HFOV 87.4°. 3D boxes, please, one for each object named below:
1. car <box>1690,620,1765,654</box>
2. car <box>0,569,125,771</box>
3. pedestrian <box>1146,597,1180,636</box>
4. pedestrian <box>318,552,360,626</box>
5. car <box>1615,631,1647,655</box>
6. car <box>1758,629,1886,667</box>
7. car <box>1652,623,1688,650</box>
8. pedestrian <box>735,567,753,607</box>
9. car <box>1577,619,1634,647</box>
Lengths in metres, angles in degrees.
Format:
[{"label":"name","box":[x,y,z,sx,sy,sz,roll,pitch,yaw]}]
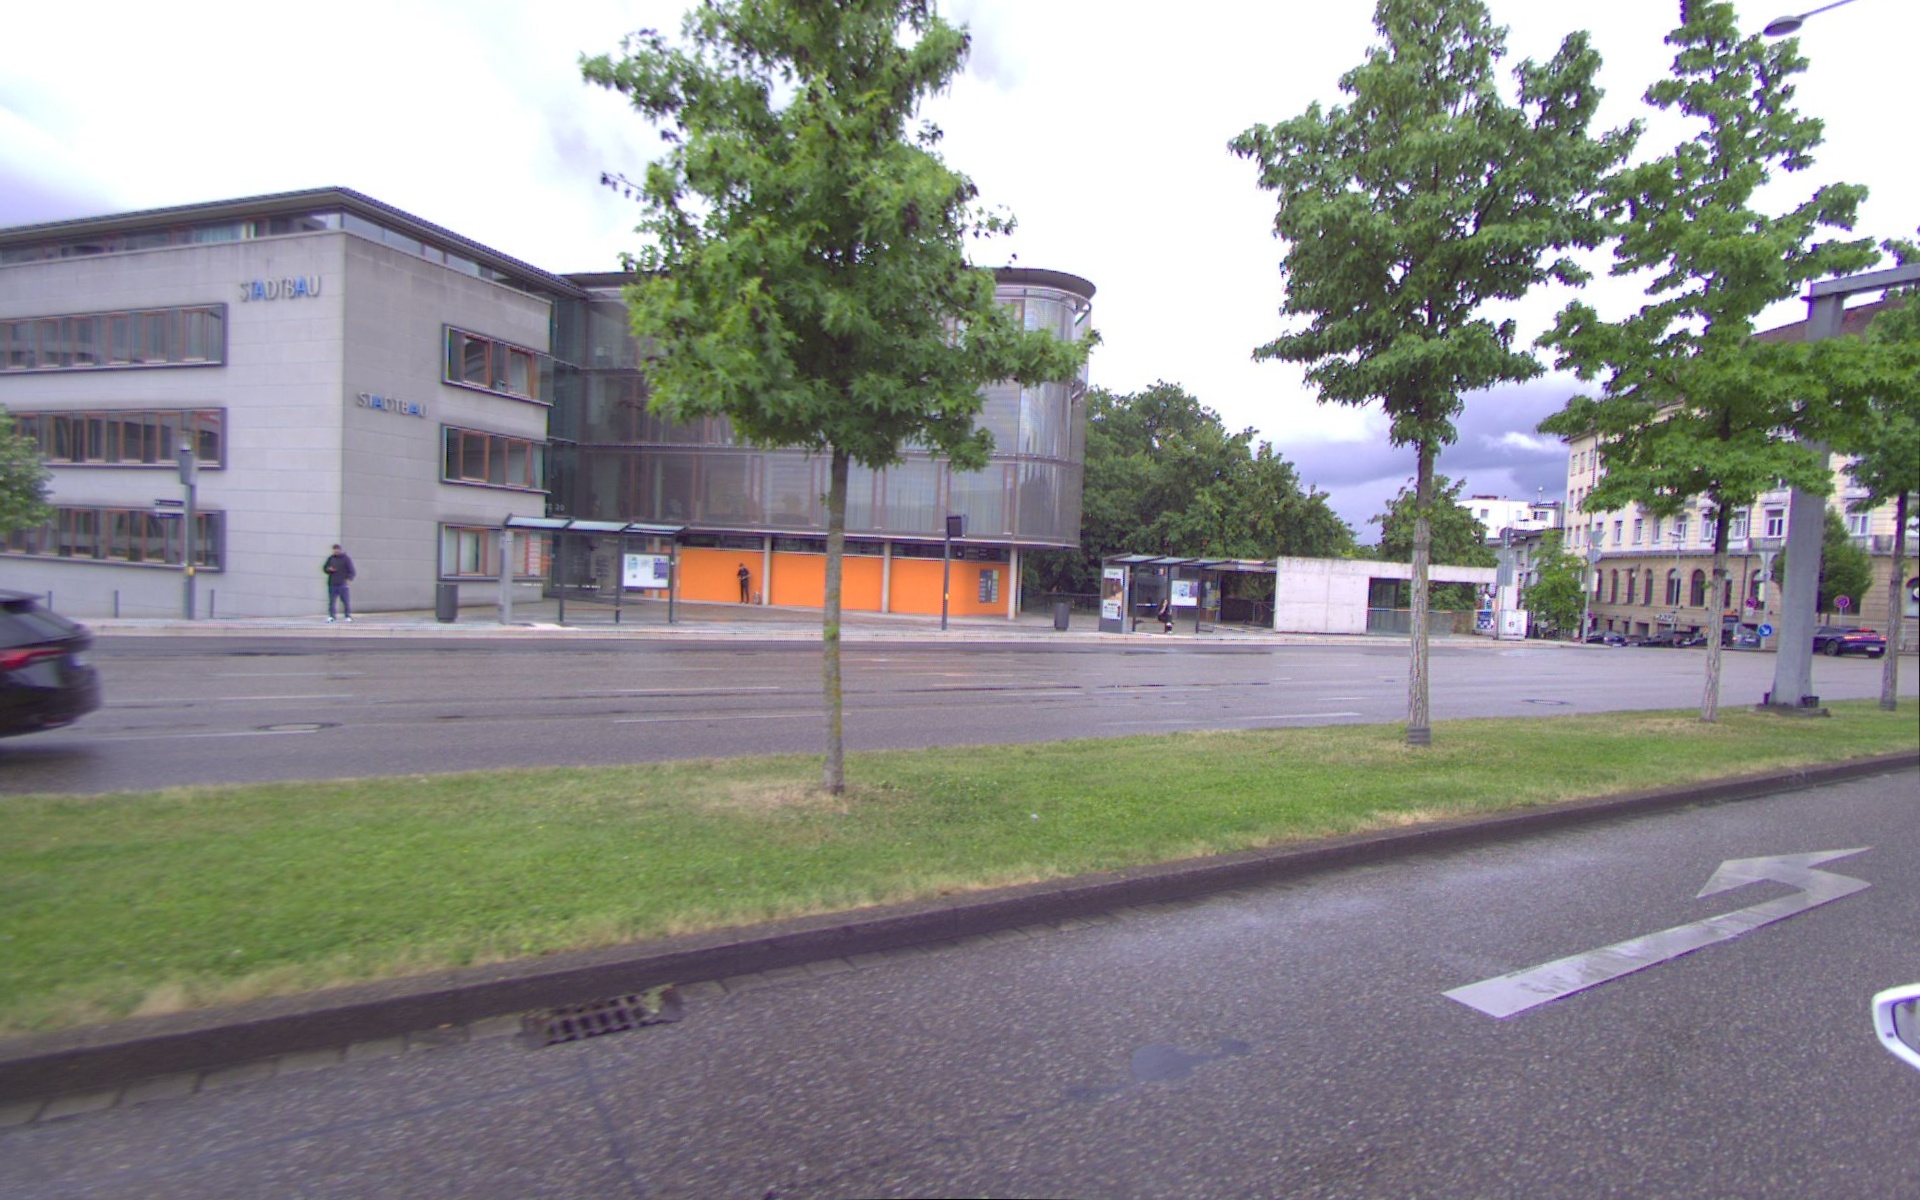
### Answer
[{"label":"car","box":[45.486,2.154,59.657,2.077,1.799,4.393,2,0,17]},{"label":"car","box":[-9.327,0.476,7.458,4.590,1.548,1.670,2,0,-33]},{"label":"pedestrian","box":[7.360,0.596,36.450,0.834,1.285,0.977,2,4,-10]},{"label":"pedestrian","box":[-14.682,-0.260,23.760,0.752,1.706,0.473,2,0,-24]},{"label":"car","box":[47.201,3.008,70.699,1.633,1.626,3.247,-1,-1,29]},{"label":"car","box":[39.738,2.169,46.467,1.789,1.591,4.396,1,-1,-10]},{"label":"car","box":[46.217,2.359,65.449,1.634,1.626,3.246,-1,-1,30]},{"label":"pedestrian","box":[-9.286,-0.543,43.177,0.630,1.706,0.475,2,0,0]},{"label":"car","box":[42.572,2.130,66.340,1.805,1.649,3.708,3,1,11]}]
